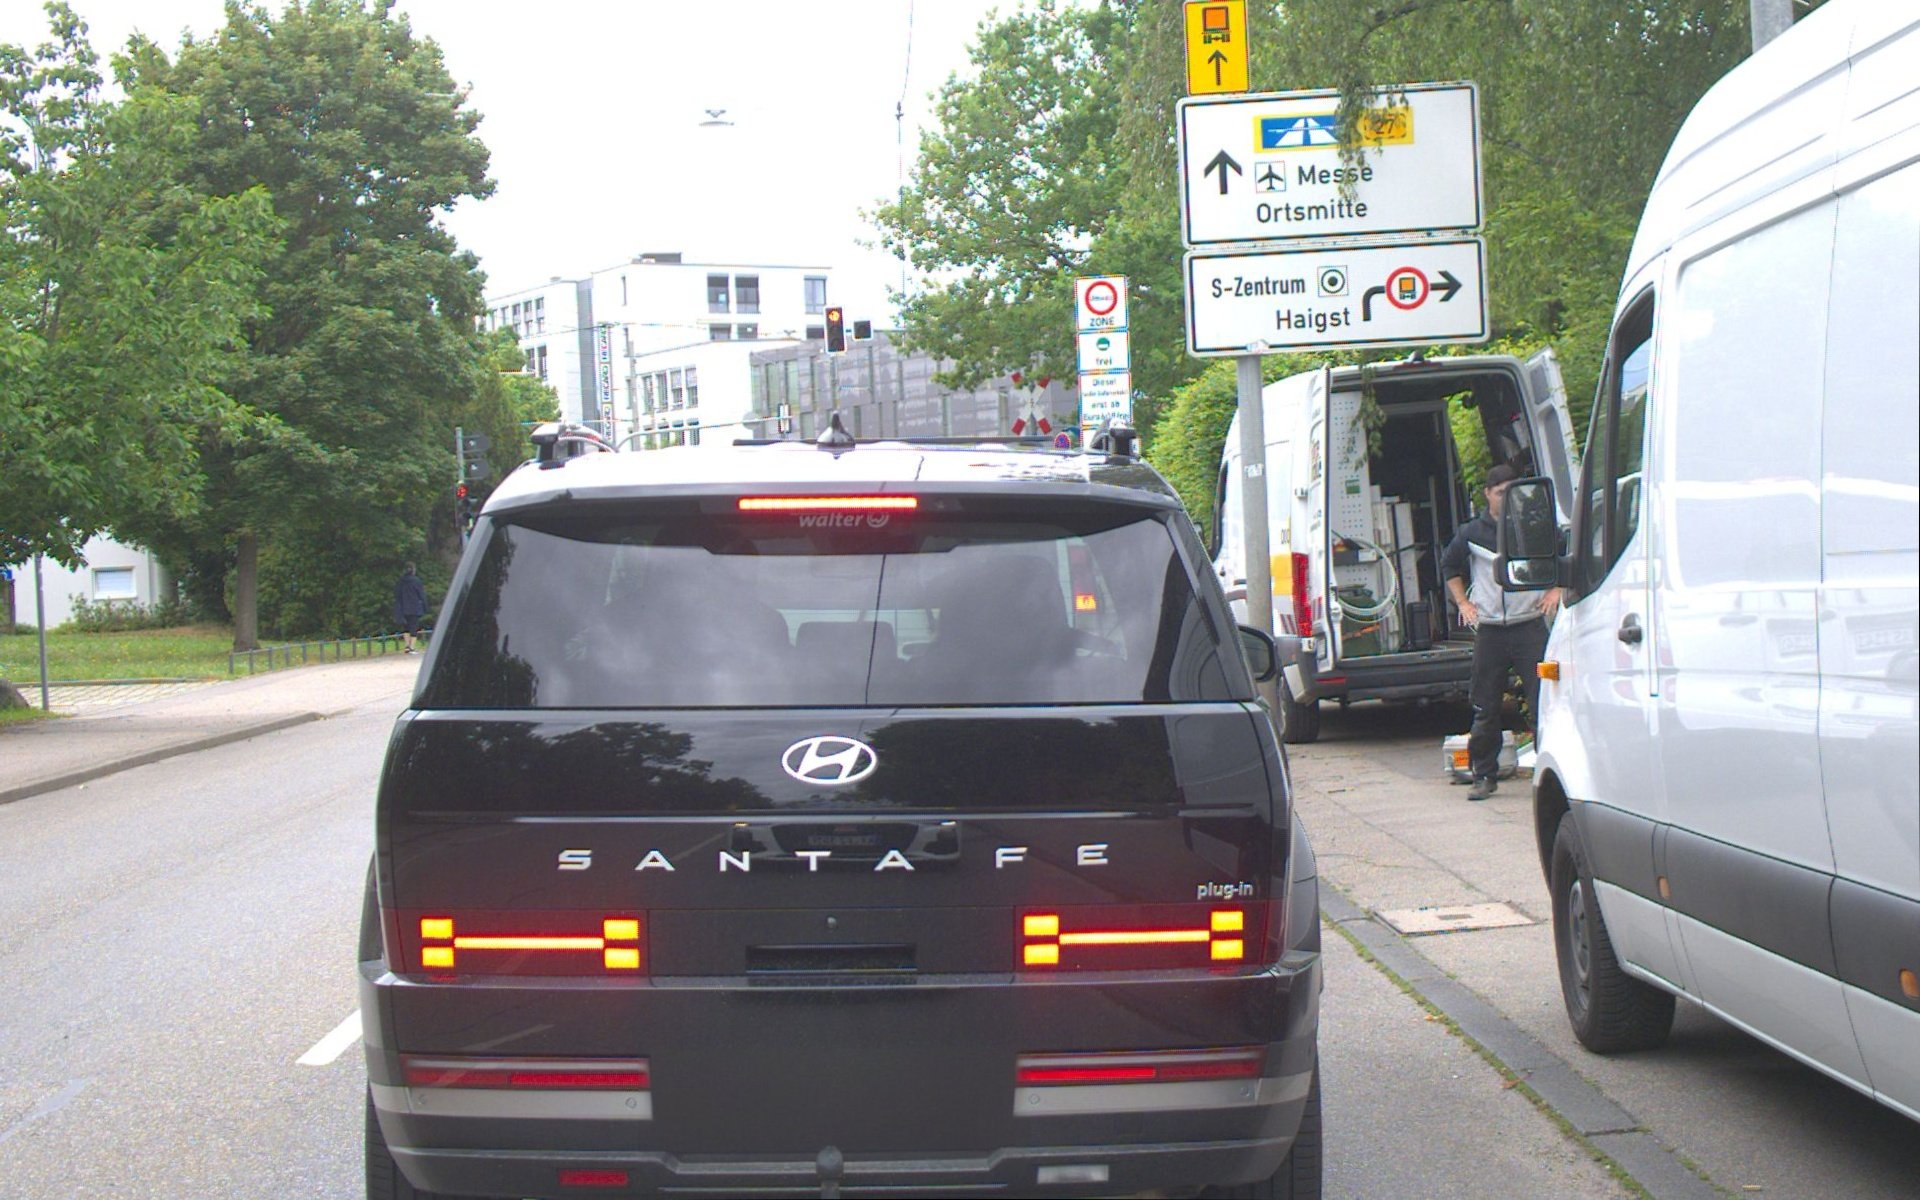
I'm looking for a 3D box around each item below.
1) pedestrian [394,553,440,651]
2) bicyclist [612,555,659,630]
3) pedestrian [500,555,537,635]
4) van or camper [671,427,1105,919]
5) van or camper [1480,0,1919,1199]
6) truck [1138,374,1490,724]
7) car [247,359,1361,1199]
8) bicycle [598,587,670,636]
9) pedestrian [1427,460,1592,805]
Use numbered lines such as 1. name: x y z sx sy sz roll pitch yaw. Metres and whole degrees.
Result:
1. pedestrian: -9.662 0.033 61.212 0.738 1.709 0.793 -2 1 -7
2. bicyclist: -7.387 -0.173 78.265 0.716 1.685 0.830 1 0 -40
3. pedestrian: -9.511 -0.112 73.999 0.738 1.709 0.793 -2 1 -7
4. van or camper: -0.321 0.275 16.393 1.754 2.007 4.000 -2 1 -1
5. van or camper: 2.629 -0.045 7.037 1.993 2.611 6.541 -2 1 -1
6. truck: 2.834 -0.405 28.791 1.942 2.553 5.217 -3 1 -4
7. car: -0.285 0.469 7.859 1.889 1.813 4.000 0 1 -1
8. bicycle: -7.431 0.257 78.305 0.696 1.089 1.775 1 0 -41
9. pedestrian: 2.956 0.166 18.439 0.758 1.791 0.872 -2 1 14
